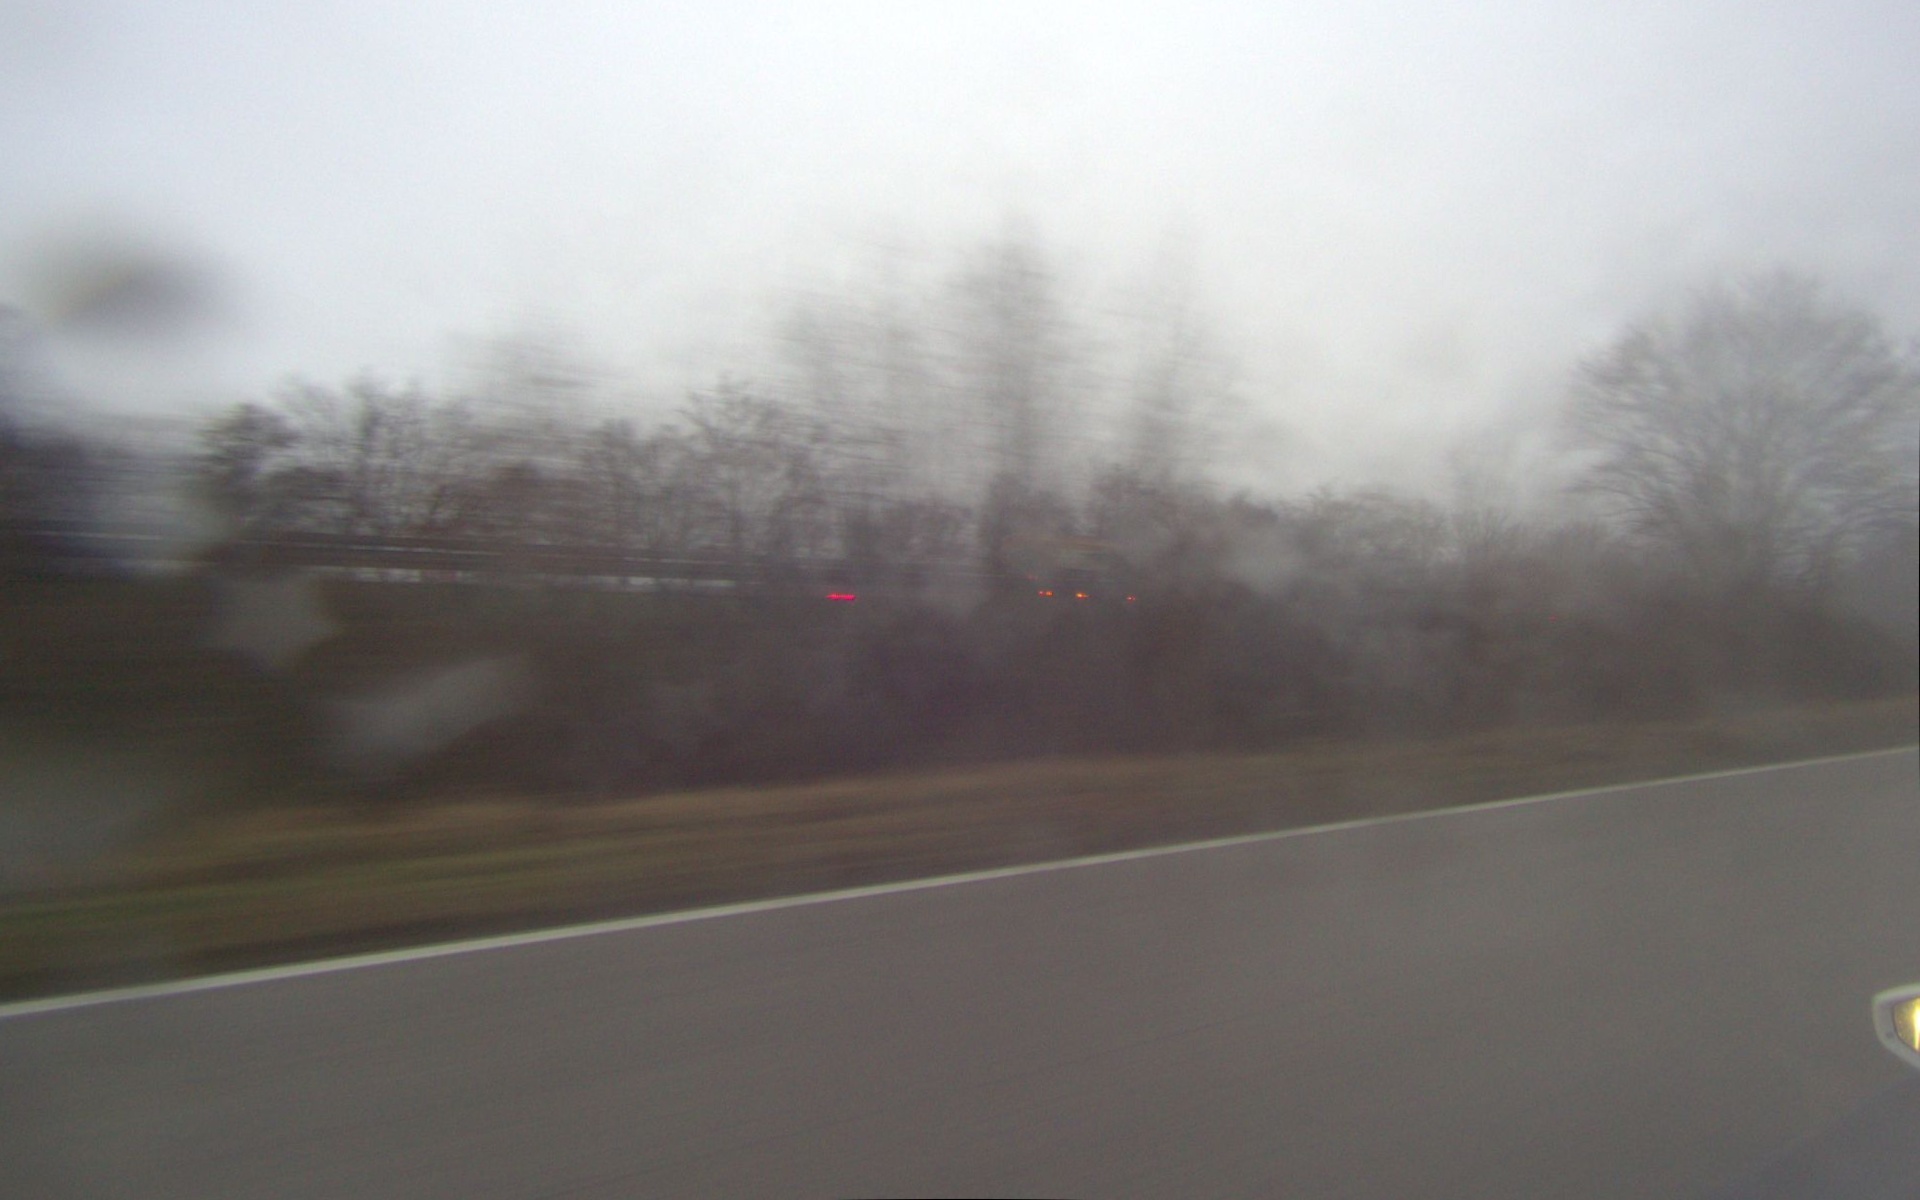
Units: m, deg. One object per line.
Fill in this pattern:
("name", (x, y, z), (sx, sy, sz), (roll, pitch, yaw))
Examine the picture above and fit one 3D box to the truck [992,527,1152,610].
("truck", (3.578, -0.939, 31.946), (4.771, 2.374, 1.984), (2, 0, -30))
